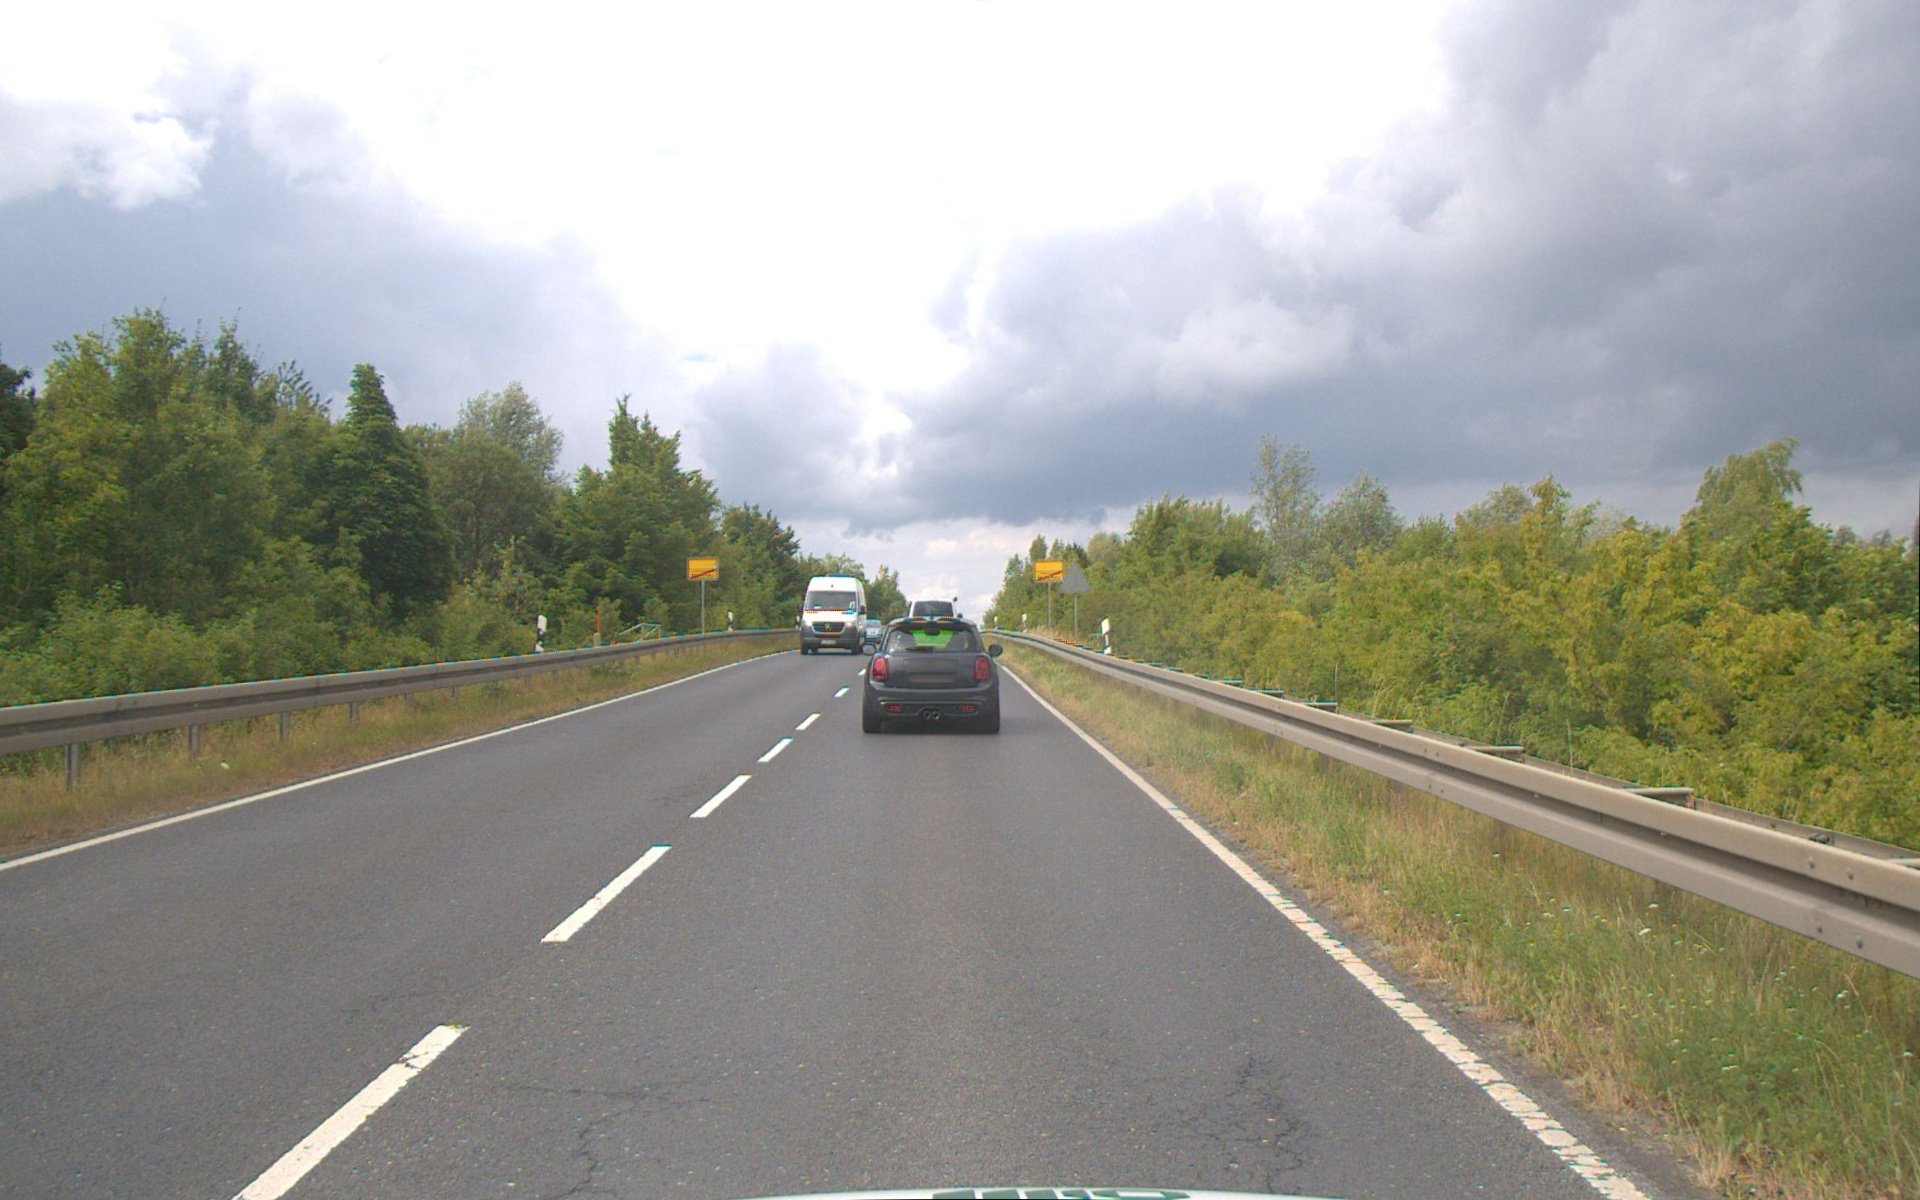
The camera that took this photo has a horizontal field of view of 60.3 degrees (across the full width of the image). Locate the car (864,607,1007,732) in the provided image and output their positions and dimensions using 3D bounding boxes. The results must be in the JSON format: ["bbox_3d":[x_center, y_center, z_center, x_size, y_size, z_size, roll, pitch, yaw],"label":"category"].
[{"bbox_3d":[-0.340,0.855,21.839,1.697,1.481,3.999,1,0,-1],"label":"car"}]

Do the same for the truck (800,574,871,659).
[{"bbox_3d":[-4.268,0.540,57.792,2.023,2.790,7.005,0,0,-1],"label":"truck"}]

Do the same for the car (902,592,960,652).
[{"bbox_3d":[-1.061,0.769,59.063,1.982,2.049,3.998,0,0,-2],"label":"car"}]

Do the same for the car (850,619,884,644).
[{"bbox_3d":[-5.616,1.905,100.498,1.798,1.470,4.000,1,-1,0],"label":"car"}]

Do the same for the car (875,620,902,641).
[{"bbox_3d":[-5.123,2.218,118.973,1.798,1.445,3.999,1,-2,-1],"label":"car"}]
